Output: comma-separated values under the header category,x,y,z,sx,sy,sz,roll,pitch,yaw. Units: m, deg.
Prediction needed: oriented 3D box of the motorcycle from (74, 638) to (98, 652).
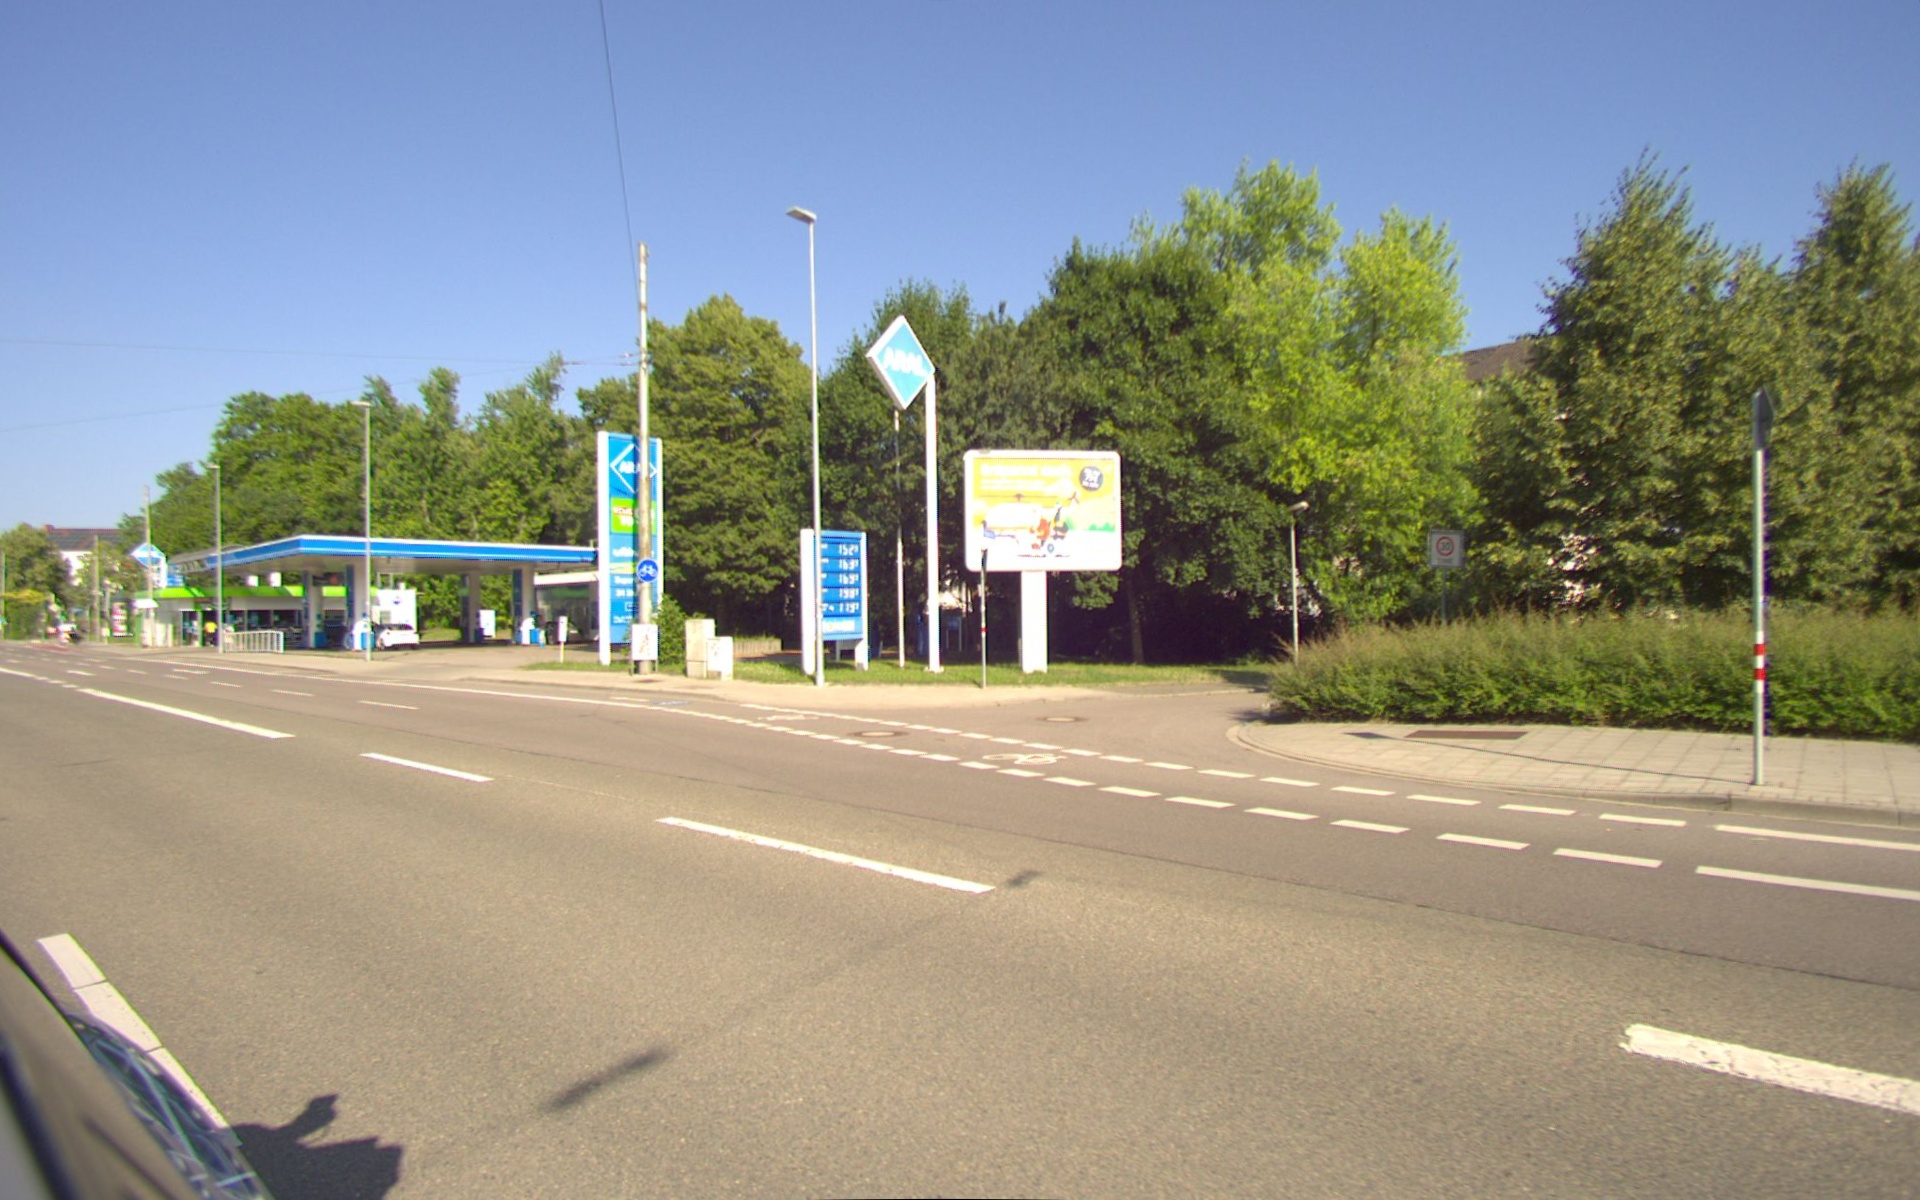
category,x,y,z,sx,sy,sz,roll,pitch,yaw
motorcycle,-80.081,4.104,92.739,0.722,1.237,2.270,0,-2,-16

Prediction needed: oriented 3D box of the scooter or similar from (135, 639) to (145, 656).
category,x,y,z,sx,sy,sz,roll,pitch,yaw
scooter or similar,-57.142,3.279,70.508,1.143,1.169,0.345,-2,-2,43

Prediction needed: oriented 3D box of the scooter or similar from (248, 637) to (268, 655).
category,x,y,z,sx,sy,sz,roll,pitch,yaw
scooter or similar,-45.815,2.991,66.058,1.016,1.118,0.351,1,-2,-42

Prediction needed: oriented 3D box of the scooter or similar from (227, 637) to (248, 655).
category,x,y,z,sx,sy,sz,roll,pitch,yaw
scooter or similar,-46.605,2.989,65.282,1.127,1.125,0.351,0,-2,-40

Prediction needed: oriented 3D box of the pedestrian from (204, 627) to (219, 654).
category,x,y,z,sx,sy,sz,roll,pitch,yaw
pedestrian,-49.778,2.703,67.313,0.594,1.744,0.665,0,-2,-18

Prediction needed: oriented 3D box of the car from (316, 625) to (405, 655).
category,x,y,z,sx,sy,sz,roll,pitch,yaw
car,-41.370,2.752,69.892,1.858,1.955,5.013,-2,-2,45

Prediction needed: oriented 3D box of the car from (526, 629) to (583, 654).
category,x,y,z,sx,sy,sz,roll,pitch,yaw
car,-24.809,2.517,61.858,4.001,1.457,1.717,-2,-2,44

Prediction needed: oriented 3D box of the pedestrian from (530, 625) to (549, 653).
category,x,y,z,sx,sy,sz,roll,pitch,yaw
pedestrian,-25.267,2.345,60.859,0.795,1.703,0.807,-2,-2,41

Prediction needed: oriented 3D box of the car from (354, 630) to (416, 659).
category,x,y,z,sx,sy,sz,roll,pitch,yaw
car,-31.539,2.400,55.461,4.273,1.502,1.718,-2,-2,42

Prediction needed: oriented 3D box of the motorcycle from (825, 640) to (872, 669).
category,x,y,z,sx,sy,sz,roll,pitch,yaw
motorcycle,-3.981,1.920,36.107,1.904,0.989,0.512,-2,-2,41

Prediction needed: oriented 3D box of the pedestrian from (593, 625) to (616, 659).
category,x,y,z,sx,sy,sz,roll,pitch,yaw
pedestrian,-18.369,2.181,52.303,0.811,1.726,1.069,0,-2,-37
